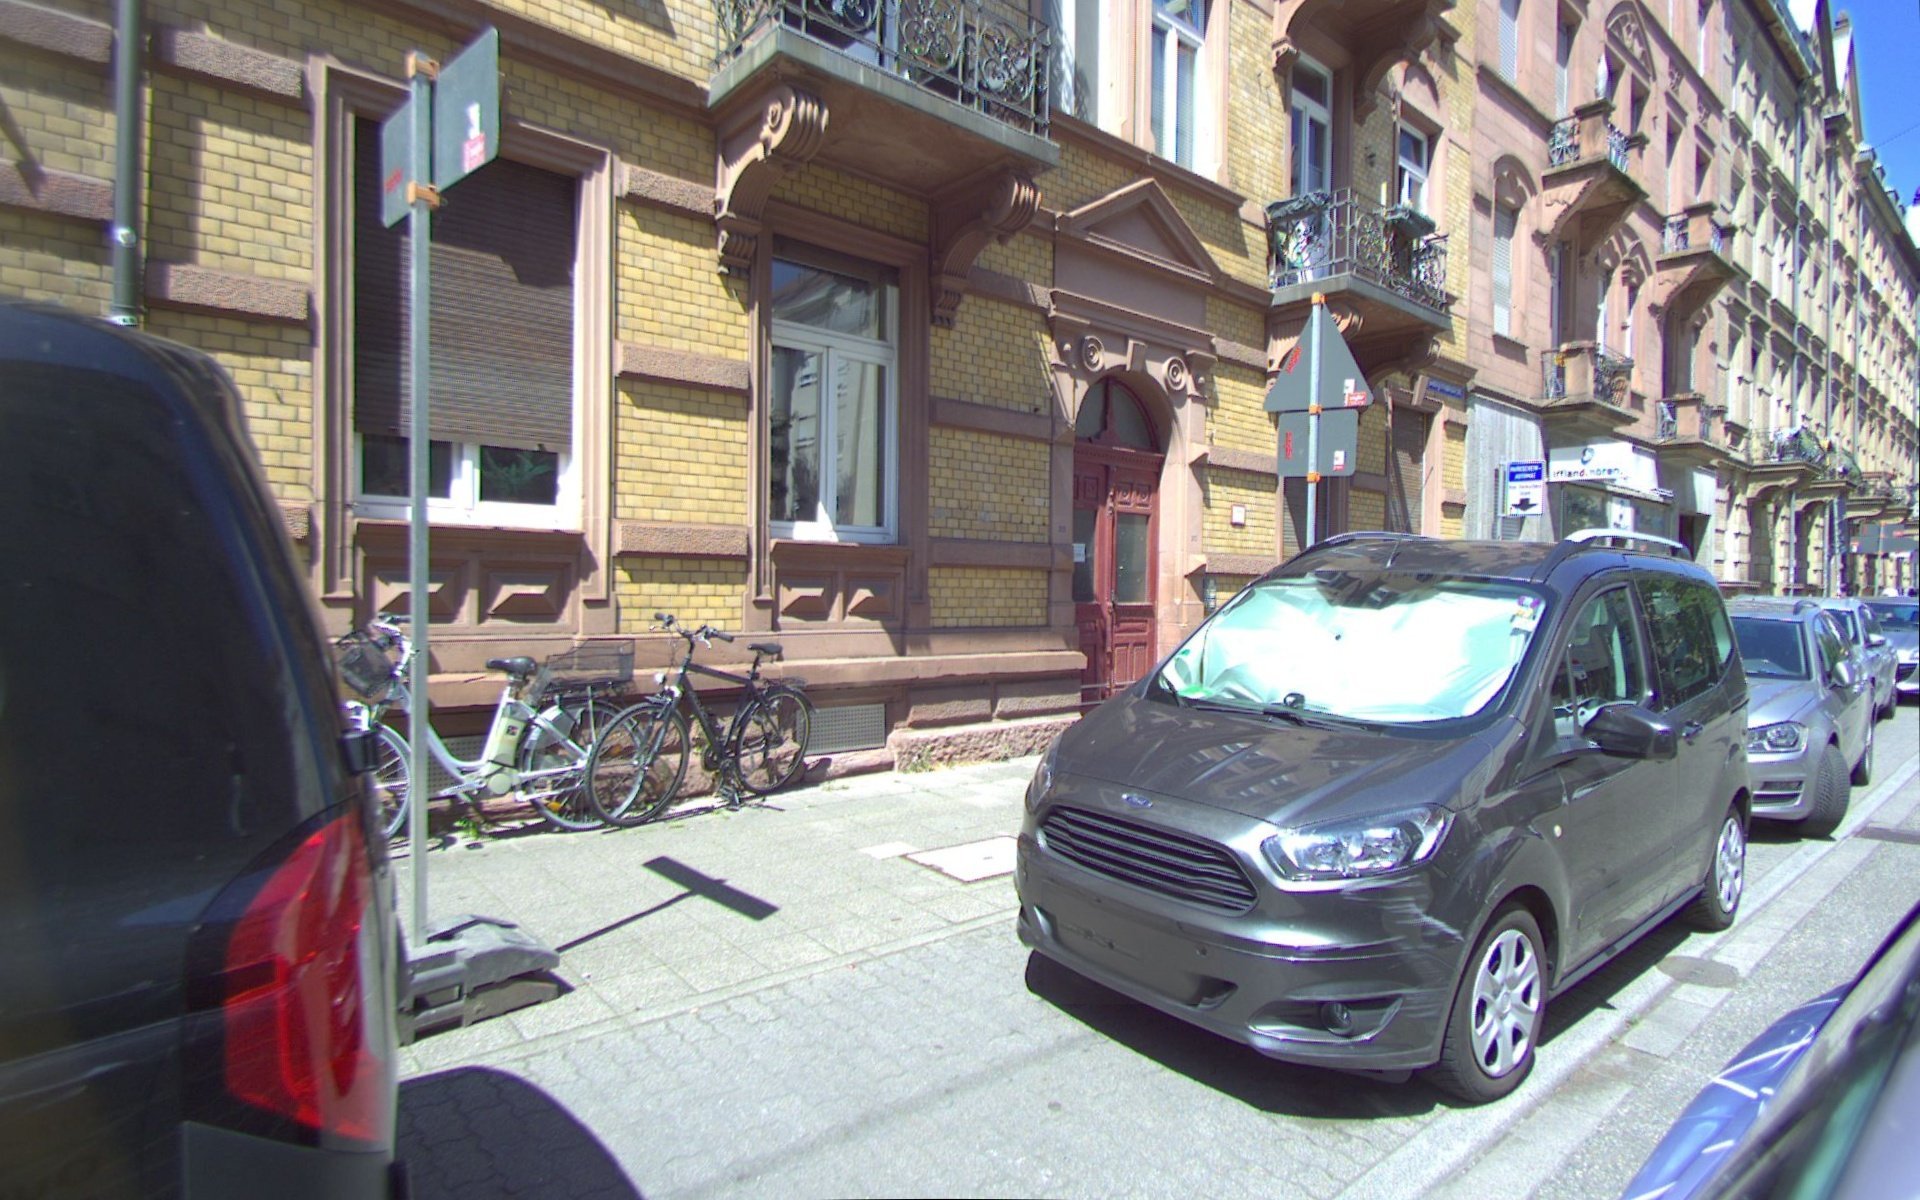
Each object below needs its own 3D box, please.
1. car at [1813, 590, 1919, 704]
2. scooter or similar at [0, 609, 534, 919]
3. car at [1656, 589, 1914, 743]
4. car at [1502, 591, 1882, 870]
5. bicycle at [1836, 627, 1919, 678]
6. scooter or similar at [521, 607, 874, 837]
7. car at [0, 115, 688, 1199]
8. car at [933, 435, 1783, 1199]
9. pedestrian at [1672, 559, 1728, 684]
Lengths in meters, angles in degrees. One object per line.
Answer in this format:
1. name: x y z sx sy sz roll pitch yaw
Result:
1. car: 13.571 0.592 14.570 3.628 1.481 1.600 -1 0 -44
2. scooter or similar: -3.148 0.641 4.704 2.112 1.167 0.477 0 0 -41
3. car: 9.689 0.619 11.774 3.933 1.479 1.827 -1 0 -43
4. car: 5.471 0.674 7.365 1.760 1.468 3.844 0 0 43
5. bicycle: 16.025 0.890 16.961 0.557 0.786 1.968 0 1 -36
6. scooter or similar: -1.498 0.637 6.114 2.075 1.167 0.477 0 0 -41
7. car: -2.509 0.492 0.442 4.264 1.788 1.827 -1 2 -43
8. car: 1.940 0.482 4.254 3.930 1.755 1.704 -1 0 -41
9. pedestrian: 11.765 0.328 16.096 0.363 1.938 0.634 0 0 -40
